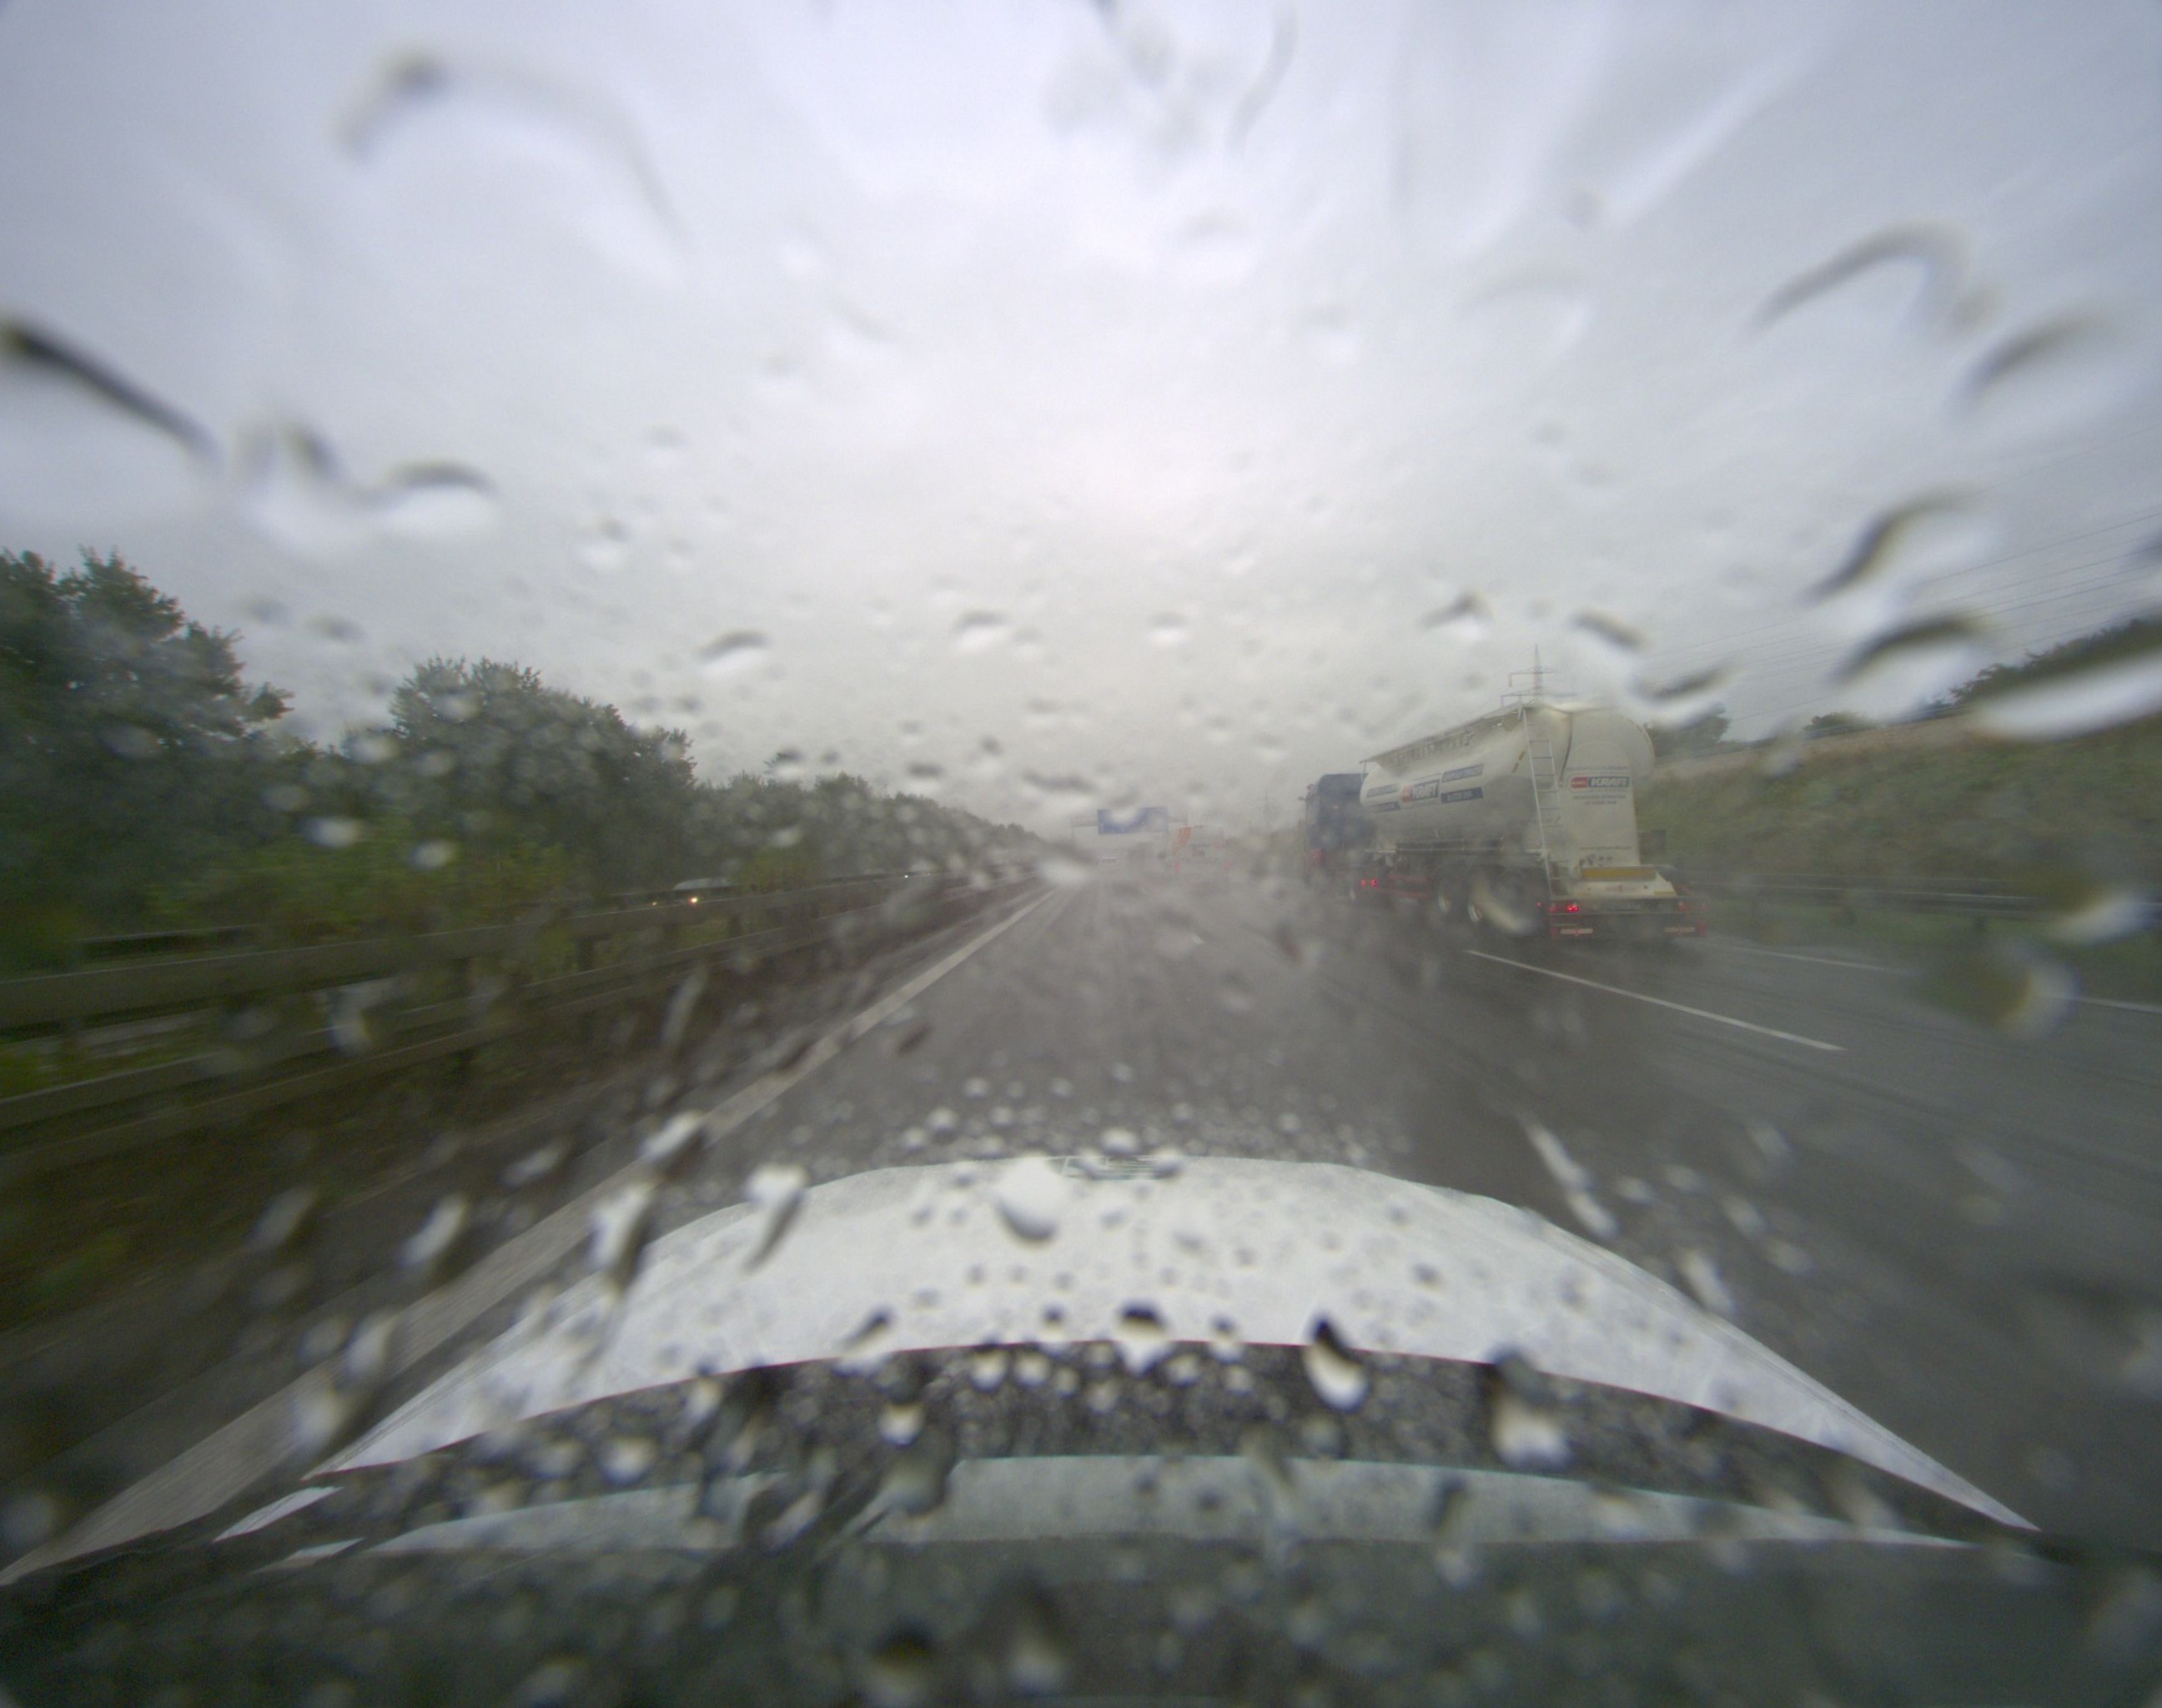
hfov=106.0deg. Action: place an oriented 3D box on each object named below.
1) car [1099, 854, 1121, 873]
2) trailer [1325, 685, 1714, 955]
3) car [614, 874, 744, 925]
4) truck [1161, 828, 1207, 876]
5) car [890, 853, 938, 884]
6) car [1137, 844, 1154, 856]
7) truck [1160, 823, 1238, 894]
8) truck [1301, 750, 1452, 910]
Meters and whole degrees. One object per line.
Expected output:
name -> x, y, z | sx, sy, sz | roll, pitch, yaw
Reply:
car -> 2.210, 0.689, 61.946 | 1.599, 1.338, 3.849 | -1, 0, 1
trailer -> 8.011, -0.533, 17.331 | 2.488, 3.882, 11.069 | -1, 0, 1
car -> -14.345, 1.585, 29.479 | 2.150, 1.512, 4.906 | -1, 0, 1
truck -> 10.667, -0.149, 86.532 | 3.029, 4.588, 16.351 | -1, -1, 1
car -> -10.666, 0.873, 52.295 | 2.024, 1.885, 4.630 | -1, 0, 1
car -> 11.611, -0.682, 145.935 | 2.778, 2.013, 4.994 | -1, 0, 1
truck -> 4.435, 0.144, 31.461 | 2.410, 2.492, 5.563 | -1, 0, 2
truck -> 8.120, -0.620, 23.011 | 2.488, 3.983, 5.077 | -1, 0, 1
